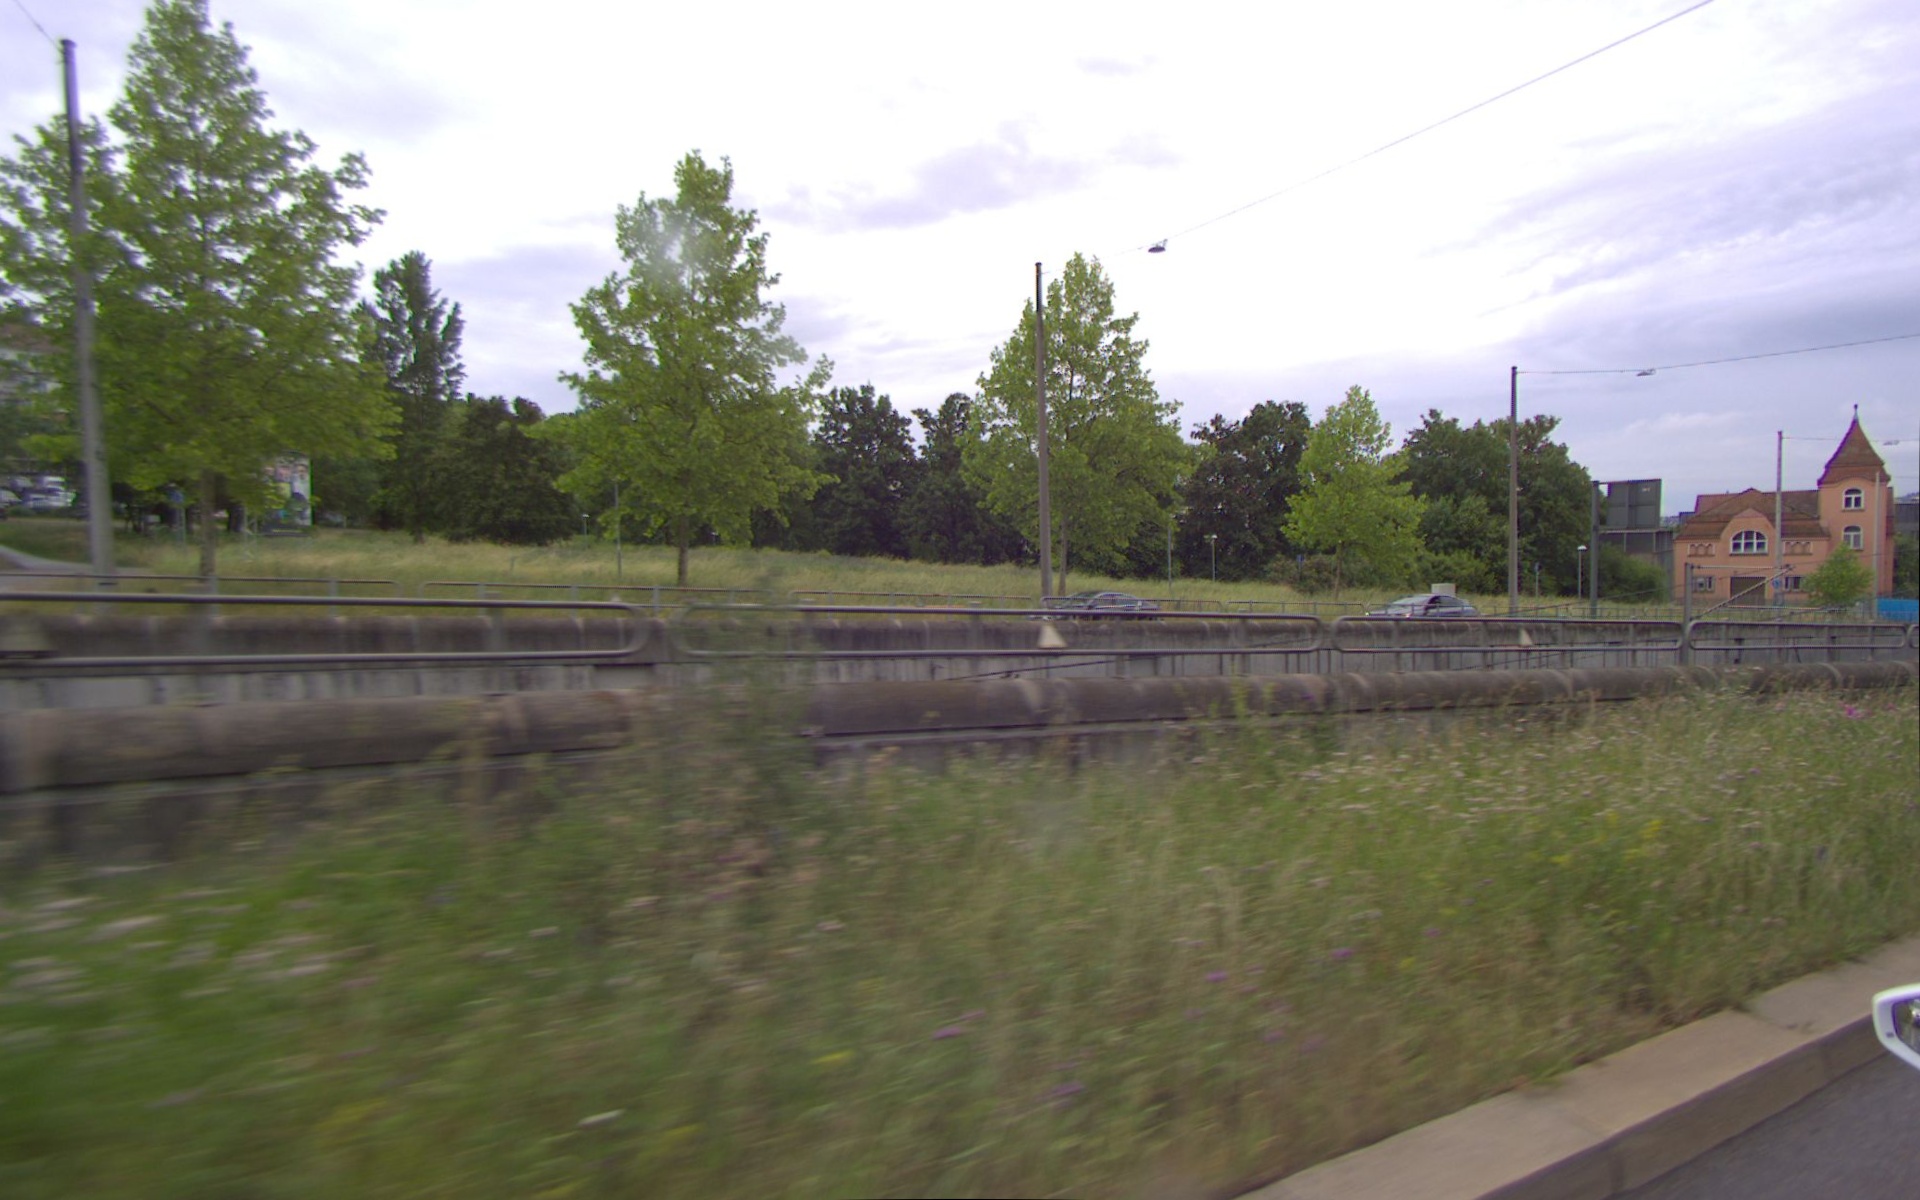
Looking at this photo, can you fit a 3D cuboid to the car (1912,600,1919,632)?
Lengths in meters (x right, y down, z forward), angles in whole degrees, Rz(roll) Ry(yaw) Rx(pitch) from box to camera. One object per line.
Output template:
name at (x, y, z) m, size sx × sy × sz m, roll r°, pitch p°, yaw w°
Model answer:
car at (63.229, 1.108, 64.597) m, size 3.991 × 1.997 × 1.880 m, roll 0°, pitch 4°, yaw -32°

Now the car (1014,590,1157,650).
car at (3.790, 0.571, 30.270) m, size 3.924 × 1.663 × 1.882 m, roll 0°, pitch 1°, yaw -29°

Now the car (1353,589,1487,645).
car at (15.630, 0.554, 34.121) m, size 4.304 × 1.666 × 1.882 m, roll 1°, pitch 4°, yaw -29°
